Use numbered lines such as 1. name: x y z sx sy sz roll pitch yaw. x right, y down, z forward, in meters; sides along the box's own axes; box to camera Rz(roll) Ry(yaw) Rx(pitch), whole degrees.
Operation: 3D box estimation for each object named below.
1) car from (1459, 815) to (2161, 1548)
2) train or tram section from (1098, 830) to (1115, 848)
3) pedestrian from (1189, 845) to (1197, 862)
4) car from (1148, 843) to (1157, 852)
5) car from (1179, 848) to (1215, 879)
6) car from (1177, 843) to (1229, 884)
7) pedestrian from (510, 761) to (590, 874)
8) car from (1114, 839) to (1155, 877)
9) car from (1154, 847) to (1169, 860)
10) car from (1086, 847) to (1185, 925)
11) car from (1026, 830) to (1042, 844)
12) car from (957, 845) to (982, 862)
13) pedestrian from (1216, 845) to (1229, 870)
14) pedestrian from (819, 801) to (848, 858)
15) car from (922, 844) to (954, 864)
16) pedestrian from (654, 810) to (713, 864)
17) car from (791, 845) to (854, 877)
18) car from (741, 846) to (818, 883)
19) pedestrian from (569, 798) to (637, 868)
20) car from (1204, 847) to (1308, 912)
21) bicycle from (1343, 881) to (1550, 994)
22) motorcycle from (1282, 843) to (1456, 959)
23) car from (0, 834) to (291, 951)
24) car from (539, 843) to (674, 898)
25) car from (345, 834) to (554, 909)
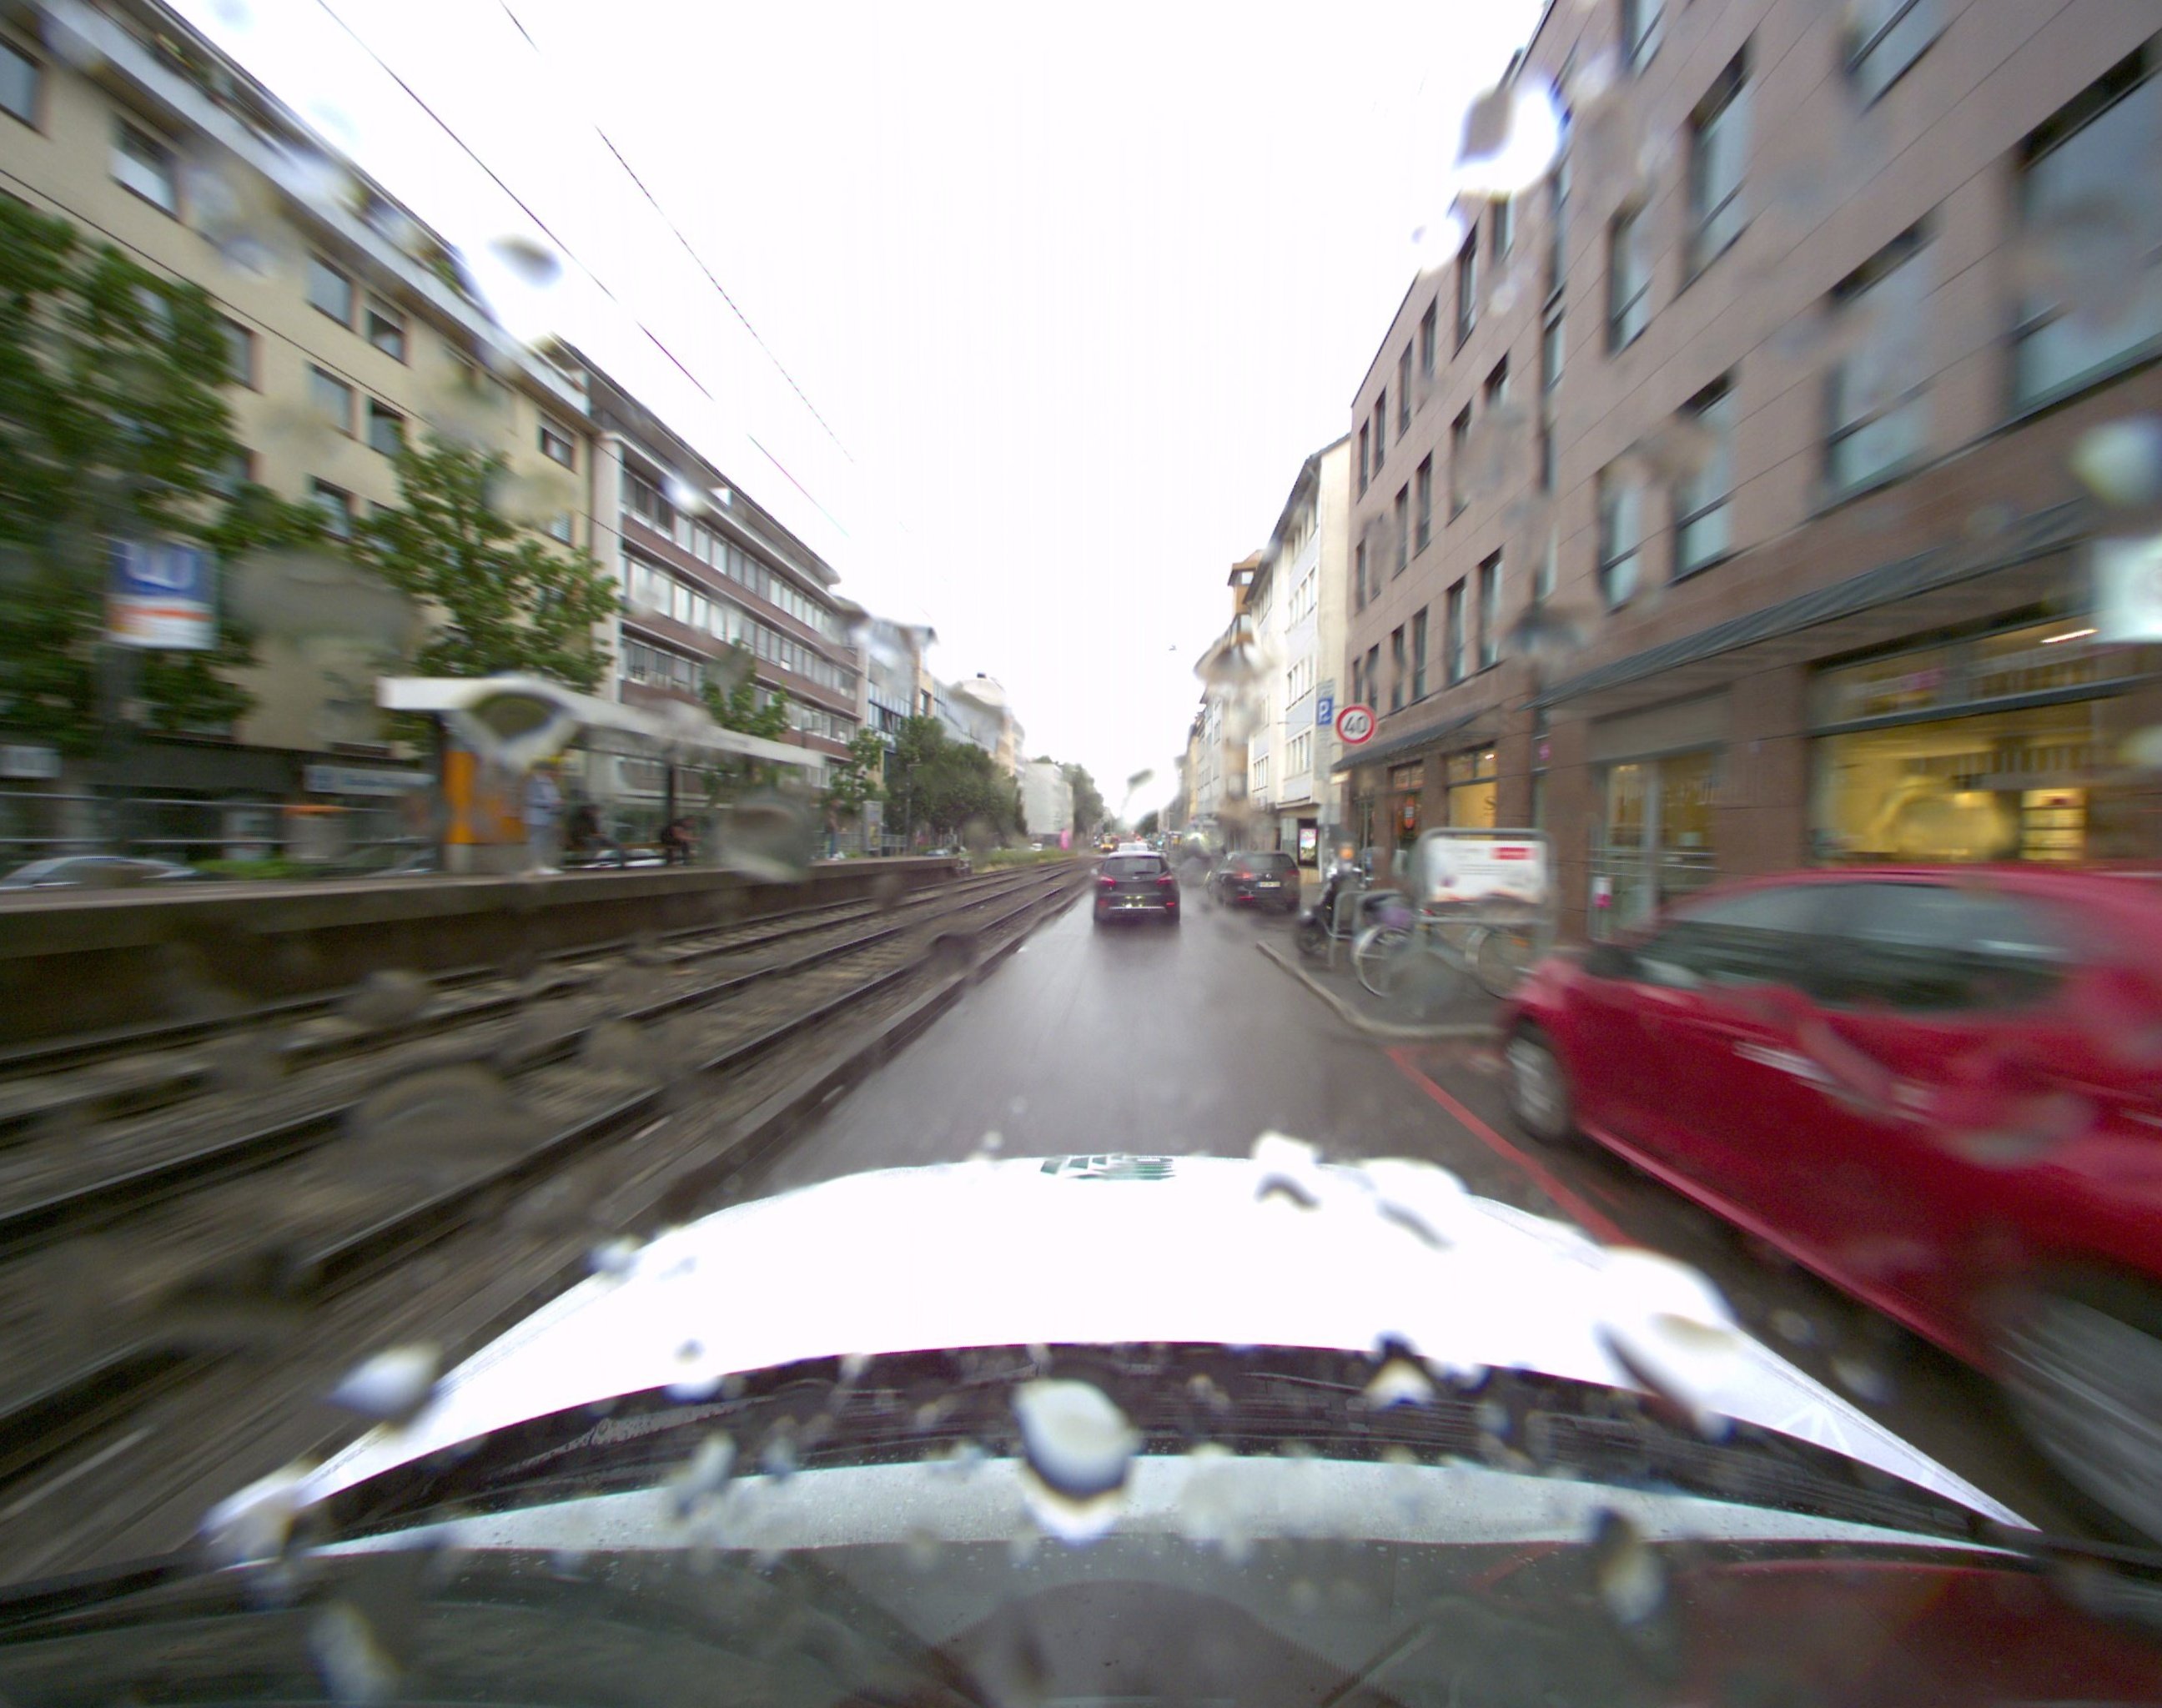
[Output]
1. car: 3.074 0.643 3.046 1.691 1.462 3.870 -1 0 3
2. train or tram section: 5.516 -3.146 174.465 3.500 3.777 11.335 0 0 1
3. pedestrian: 10.379 -0.067 75.510 0.608 1.537 0.649 0 0 3
4. car: 14.846 -1.346 168.823 1.897 1.633 4.580 1 0 5
5. car: 5.687 0.431 40.215 1.550 1.476 3.570 0 0 5
6. car: 5.222 0.354 35.414 1.799 1.631 5.174 0 0 4
7. pedestrian: -8.299 -0.552 12.753 0.653 1.711 0.850 1 0 2
8. car: 2.931 0.210 43.461 1.896 1.864 4.582 1 0 7
9. car: 10.563 -0.052 106.825 1.897 1.633 4.580 1 0 5
10. car: 1.183 0.627 17.500 1.898 1.462 3.449 1 0 4
11. car: -6.703 -2.413 117.101 1.900 1.864 4.574 1 0 1
12. car: -9.856 -0.023 72.430 1.562 1.436 4.178 0 0 1
13. pedestrian: 9.600 0.215 55.288 0.692 1.652 0.966 0 0 3
14. pedestrian: -7.948 -0.767 26.182 0.653 1.801 0.850 1 0 2
15. car: -10.686 0.009 60.954 1.562 1.436 4.178 0 0 1
16. pedestrian: -8.483 -0.354 17.401 0.891 1.123 0.848 1 0 -7
17. car: -12.272 0.309 38.913 1.562 1.436 4.178 0 0 1
18. car: -12.507 0.401 34.011 1.562 1.436 4.239 0 0 1
19. pedestrian: -8.746 -0.377 14.918 0.690 1.249 0.885 1 0 2
20. car: 4.322 0.575 20.787 1.767 1.468 4.611 0 0 2
21. bicycle: 3.488 0.785 7.844 1.779 1.031 0.462 0 -1 2
22. motorcycle: 3.741 0.566 10.634 2.066 1.407 0.803 0 -1 22
23. car: -14.109 0.458 11.658 1.667 1.436 3.980 0 0 1
24. car: -13.328 0.428 23.141 1.562 1.436 3.737 0 0 1
25. car: -13.474 0.330 17.680 1.562 1.436 3.737 0 0 1
